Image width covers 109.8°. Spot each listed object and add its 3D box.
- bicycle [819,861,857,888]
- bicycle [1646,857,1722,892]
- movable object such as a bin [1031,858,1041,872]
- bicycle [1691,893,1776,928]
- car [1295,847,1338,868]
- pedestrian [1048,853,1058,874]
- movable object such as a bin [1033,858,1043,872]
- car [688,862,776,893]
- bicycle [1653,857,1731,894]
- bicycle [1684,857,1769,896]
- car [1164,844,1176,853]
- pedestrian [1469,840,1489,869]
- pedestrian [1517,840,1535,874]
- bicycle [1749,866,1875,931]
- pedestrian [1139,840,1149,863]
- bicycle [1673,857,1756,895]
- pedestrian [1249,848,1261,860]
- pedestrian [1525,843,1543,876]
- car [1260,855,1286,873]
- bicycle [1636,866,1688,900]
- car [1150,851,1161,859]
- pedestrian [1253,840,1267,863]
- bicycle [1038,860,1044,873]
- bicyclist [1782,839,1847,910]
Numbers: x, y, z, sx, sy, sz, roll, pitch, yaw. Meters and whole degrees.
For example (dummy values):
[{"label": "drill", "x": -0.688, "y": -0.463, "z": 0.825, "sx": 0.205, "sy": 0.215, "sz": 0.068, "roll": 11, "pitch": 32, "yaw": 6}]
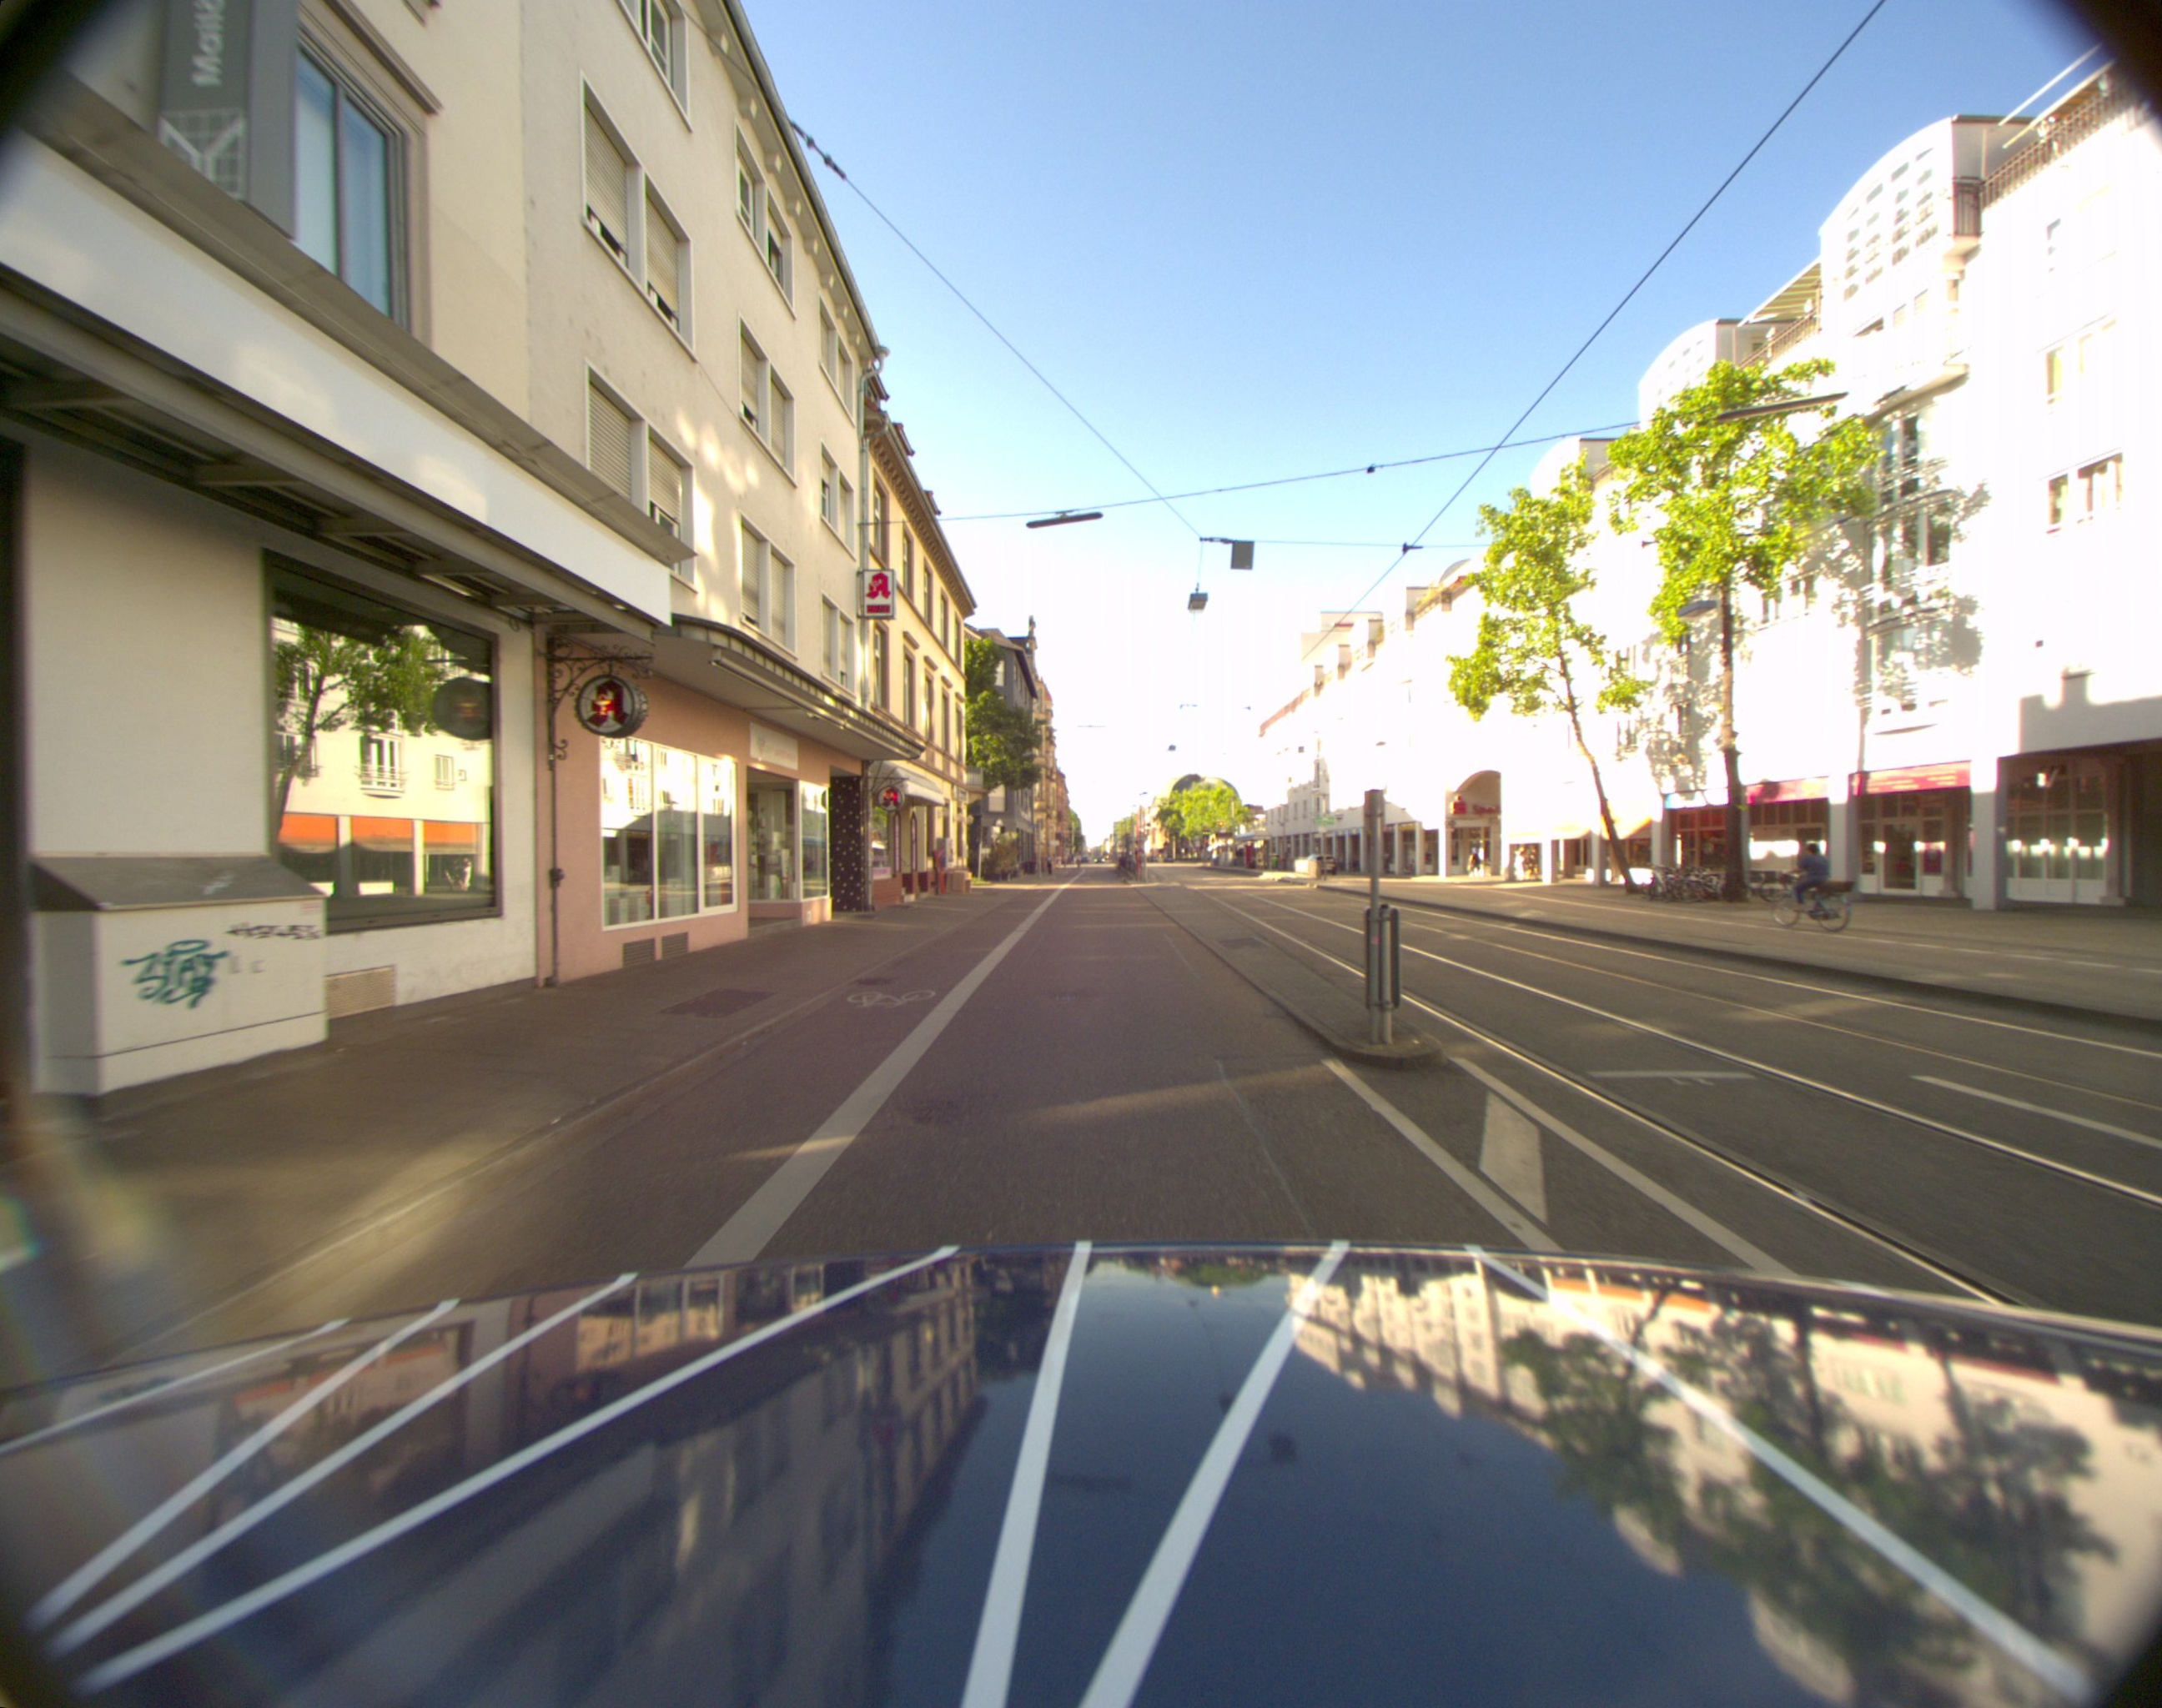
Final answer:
[{"label": "bicycle", "x": -11.716, "y": 0.981, "z": 36.561, "sx": 2.053, "sy": 1.258, "sz": 0.581, "roll": -1, "pitch": 1, "yaw": 35}, {"label": "bicycle", "x": 18.876, "y": 0.635, "z": 23.813, "sx": 1.877, "sy": 1.071, "sz": 0.511, "roll": -1, "pitch": 1, "yaw": 6}, {"label": "movable object such as a bin", "x": -3.487, "y": 0.861, "z": 59.276, "sx": 0.717, "sy": 1.062, "sz": 0.637, "roll": -1, "pitch": 0, "yaw": 0}, {"label": "bicycle", "x": 18.023, "y": 1.555, "z": 21.015, "sx": 1.751, "sy": 0.926, "sz": 0.571, "roll": 0, "pitch": 0, "yaw": 10}, {"label": "car", "x": 17.563, "y": 0.236, "z": 56.838, "sx": 1.784, "sy": 1.531, "sz": 4.266, "roll": 1, "pitch": 0, "yaw": -1}, {"label": "pedestrian", "x": -2.249, "y": 0.746, "z": 61.180, "sx": 0.695, "sy": 1.680, "sz": 0.688, "roll": 3, "pitch": 0, "yaw": 1}, {"label": "movable object such as a bin", "x": -3.378, "y": 0.848, "z": 60.150, "sx": 0.717, "sy": 1.062, "sz": 0.637, "roll": -1, "pitch": 0, "yaw": 0}, {"label": "car", "x": -17.026, "y": 1.105, "z": 37.219, "sx": 1.642, "sy": 1.354, "sz": 3.664, "roll": -1, "pitch": 1, "yaw": 27}, {"label": "bicycle", "x": 18.530, "y": 0.650, "z": 23.065, "sx": 1.876, "sy": 1.071, "sz": 0.465, "roll": -1, "pitch": 1, "yaw": 9}, {"label": "bicycle", "x": 18.290, "y": 0.641, "z": 21.558, "sx": 1.876, "sy": 1.071, "sz": 0.465, "roll": -1, "pitch": 1, "yaw": 9}, {"label": "car", "x": 16.885, "y": -1.088, "z": 144.423, "sx": 1.998, "sy": 1.608, "sz": 4.000, "roll": -1, "pitch": 0, "yaw": 1}, {"label": "pedestrian", "x": 23.126, "y": 0.011, "z": 44.180, "sx": 0.747, "sy": 1.635, "sz": 0.731, "roll": -1, "pitch": 1, "yaw": 1}, {"label": "pedestrian", "x": 21.967, "y": 0.137, "z": 37.521, "sx": 0.563, "sy": 1.635, "sz": 0.523, "roll": -1, "pitch": 1, "yaw": 1}, {"label": "bicycle", "x": 14.198, "y": 0.832, "z": 14.844, "sx": 0.564, "sy": 1.117, "sz": 2.004, "roll": 3, "pitch": 1, "yaw": 4}, {"label": "pedestrian", "x": 4.505, "y": -0.157, "z": 54.543, "sx": 0.716, "sy": 1.635, "sz": 0.400, "roll": -1, "pitch": 1, "yaw": 3}, {"label": "bicycle", "x": 18.371, "y": 0.640, "z": 22.051, "sx": 1.876, "sy": 1.071, "sz": 0.465, "roll": -1, "pitch": 1, "yaw": 9}, {"label": "pedestrian", "x": 13.606, "y": 0.007, "z": 59.511, "sx": 0.794, "sy": 0.982, "sz": 0.748, "roll": -1, "pitch": 0, "yaw": 1}, {"label": "pedestrian", "x": 22.393, "y": 0.267, "z": 37.540, "sx": 0.563, "sy": 1.635, "sz": 0.523, "roll": 0, "pitch": 0, "yaw": 1}, {"label": "car", "x": 17.576, "y": 0.885, "z": 69.653, "sx": 1.783, "sy": 1.658, "sz": 4.774, "roll": 0, "pitch": 0, "yaw": 8}, {"label": "bicycle", "x": 17.206, "y": 0.848, "z": 22.548, "sx": 0.470, "sy": 0.926, "sz": 1.755, "roll": -1, "pitch": 1, "yaw": 11}, {"label": "car", "x": 16.481, "y": 0.205, "z": 168.303, "sx": 1.999, "sy": 1.892, "sz": 3.999, "roll": -1, "pitch": 0, "yaw": -1}, {"label": "pedestrian", "x": 13.032, "y": -0.155, "z": 55.383, "sx": 0.794, "sy": 1.635, "sz": 0.747, "roll": -1, "pitch": 0, "yaw": 1}, {"label": "bicycle", "x": -3.332, "y": 1.037, "z": 63.500, "sx": 0.377, "sy": 1.052, "sz": 1.513, "roll": -1, "pitch": 0, "yaw": 2}, {"label": "bicyclist", "x": 14.173, "y": 0.384, "z": 14.692, "sx": 0.563, "sy": 1.353, "sz": 0.719, "roll": 0, "pitch": 1, "yaw": 4}]
